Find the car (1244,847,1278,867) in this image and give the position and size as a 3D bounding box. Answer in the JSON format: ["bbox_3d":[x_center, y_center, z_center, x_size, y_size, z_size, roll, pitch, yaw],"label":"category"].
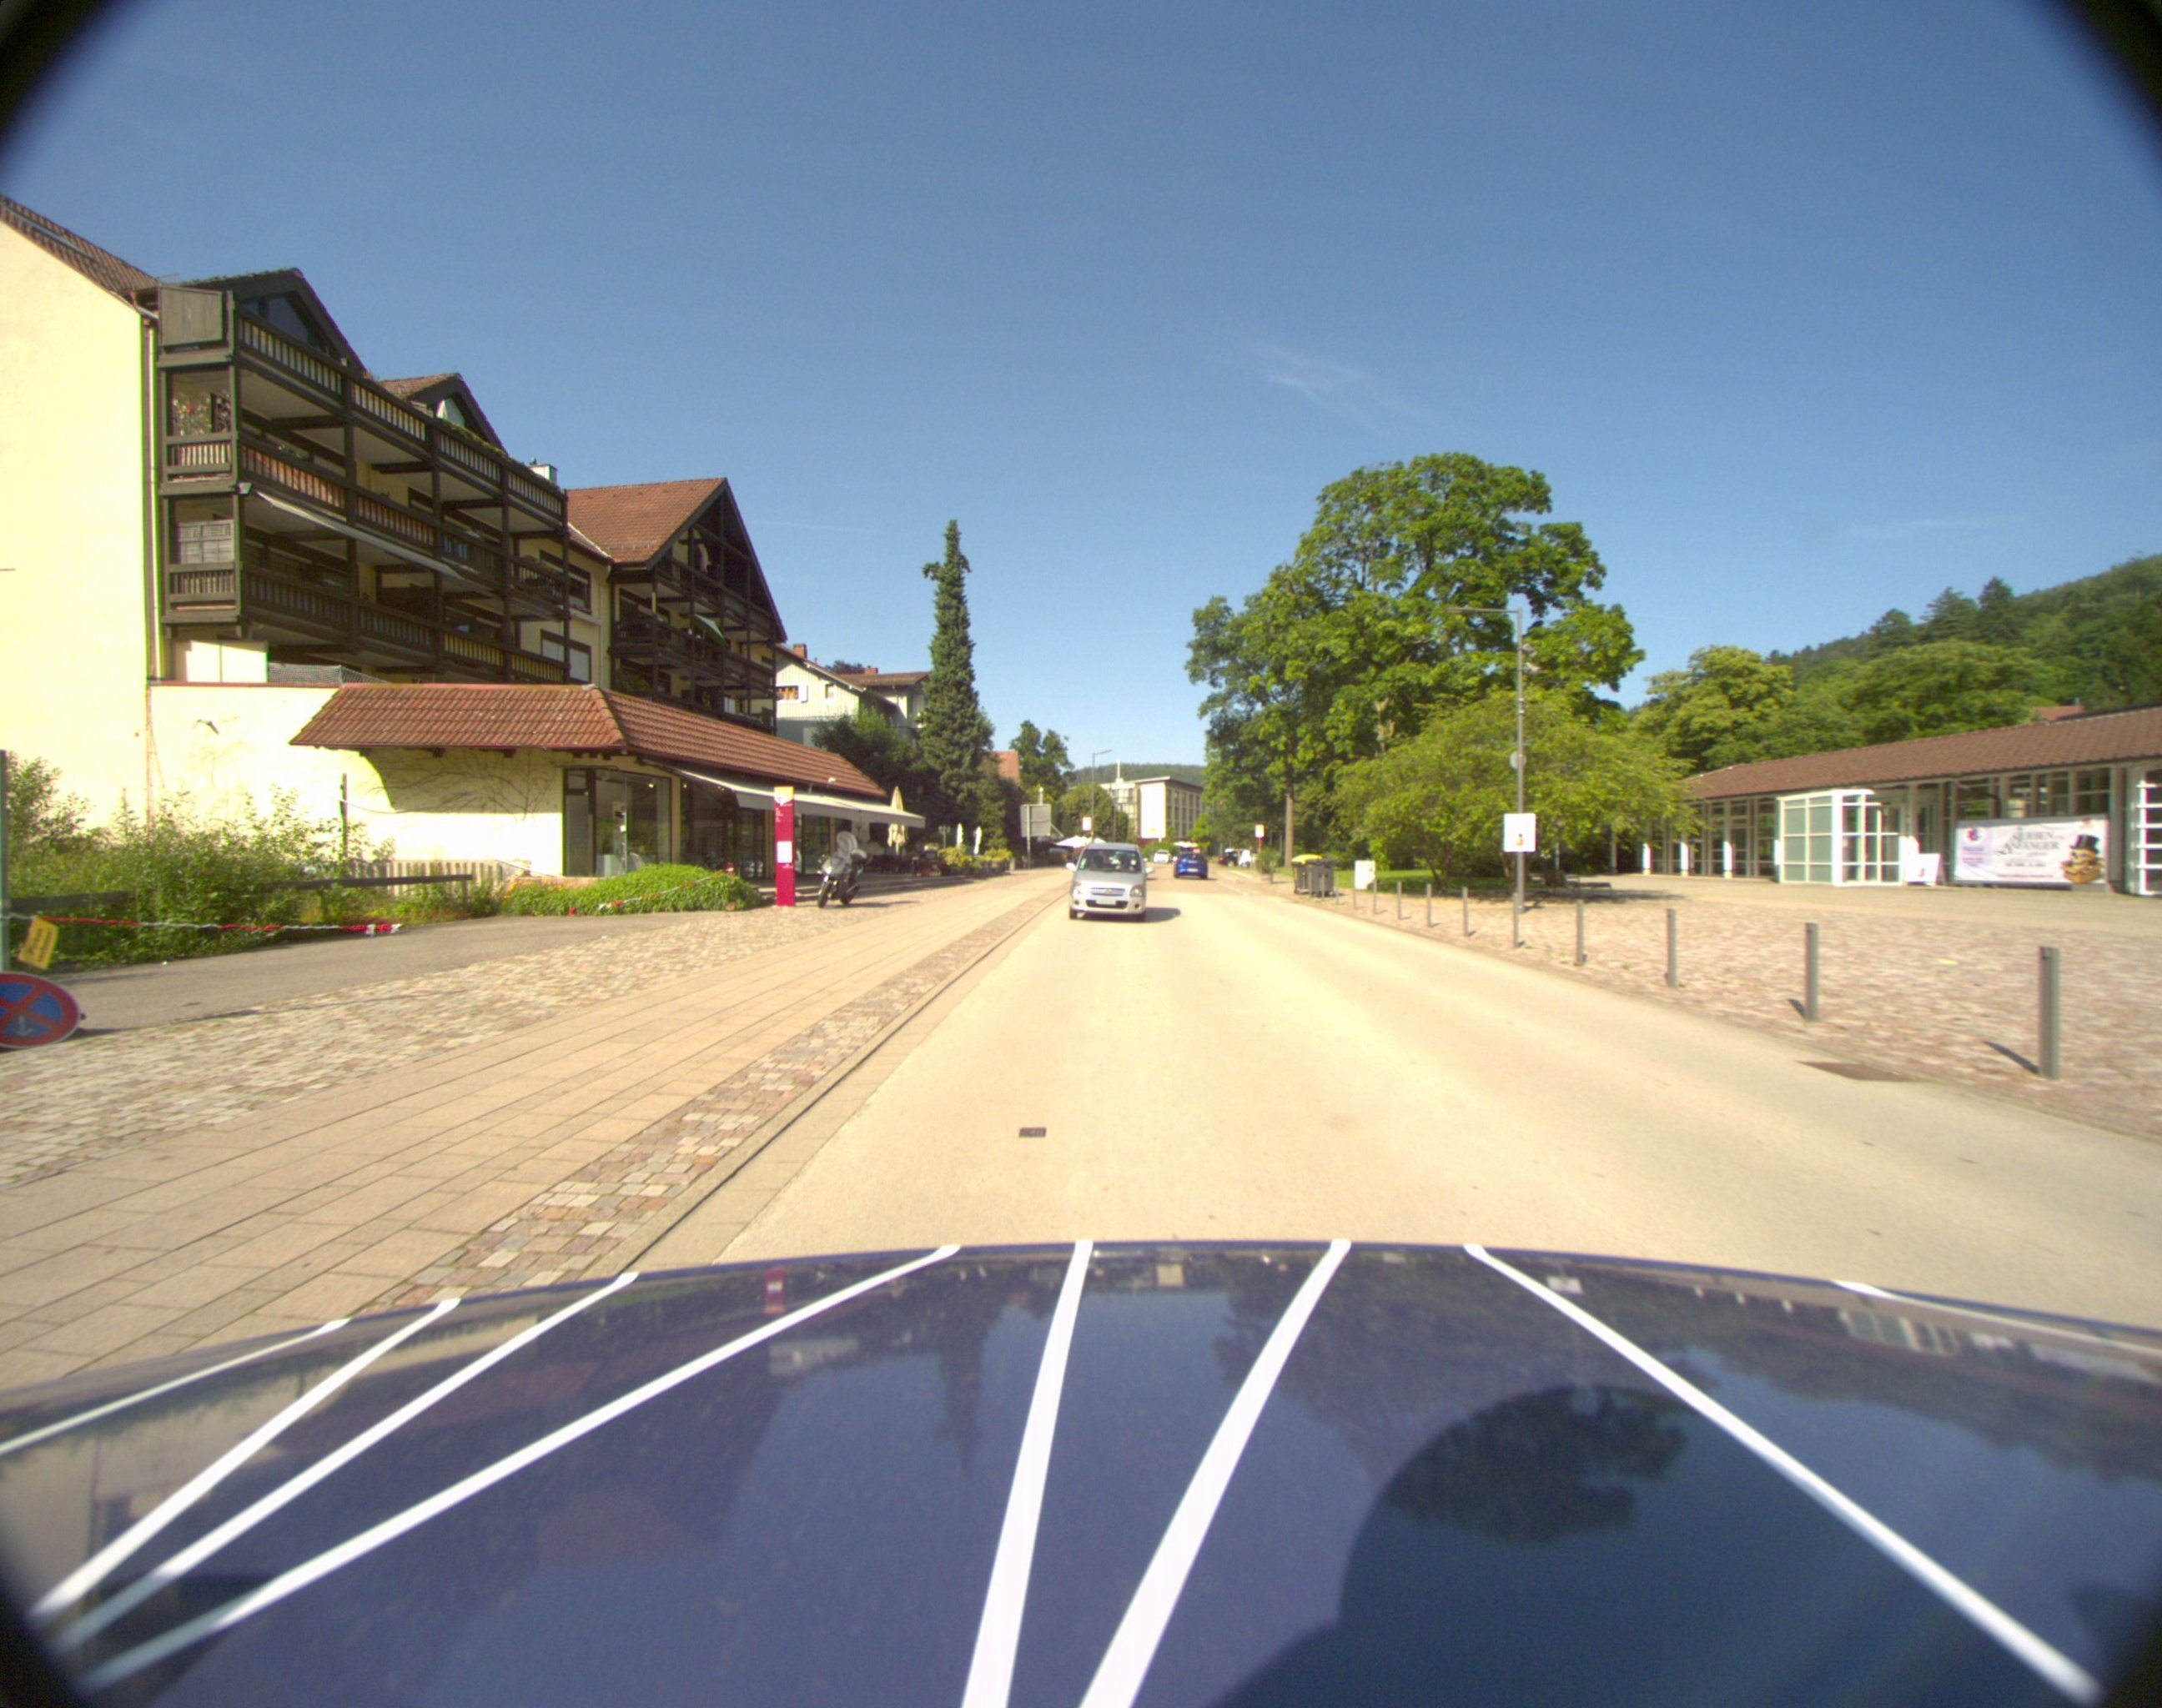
[{"bbox_3d":[15.025,0.232,63.435,2.655,1.538,1.684,-2,1,13],"label":"car"}]

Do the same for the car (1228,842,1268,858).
[{"bbox_3d":[19.709,-0.469,89.979,4.490,1.654,1.811,-2,1,10],"label":"car"}]

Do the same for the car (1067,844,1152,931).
[{"bbox_3d":[0.636,0.628,16.831,1.604,1.628,4.000,2,1,2],"label":"car"}]

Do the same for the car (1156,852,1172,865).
[{"bbox_3d":[9.897,0.502,90.234,1.653,1.462,4.002,-2,0,8],"label":"car"}]

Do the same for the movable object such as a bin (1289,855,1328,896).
[{"bbox_3d":[8.431,0.775,28.176,1.081,1.419,1.377,-2,1,4],"label":"movable object such as a bin"}]

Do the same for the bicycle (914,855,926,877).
[{"bbox_3d":[-6.760,0.487,31.905,0.397,0.837,1.613,-1,2,-14],"label":"bicycle"}]

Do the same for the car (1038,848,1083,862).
[{"bbox_3d":[-2.096,0.101,76.537,4.270,1.371,1.710,1,1,9],"label":"car"}]

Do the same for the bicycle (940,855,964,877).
[{"bbox_3d":[-5.430,0.490,32.003,0.397,0.859,1.617,0,1,13],"label":"bicycle"}]

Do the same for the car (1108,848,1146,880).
[{"bbox_3d":[2.368,0.470,38.506,1.739,1.488,3.931,-1,0,6],"label":"car"}]

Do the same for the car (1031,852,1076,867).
[{"bbox_3d":[-2.632,0.547,73.706,4.116,1.407,1.749,1,1,9],"label":"car"}]

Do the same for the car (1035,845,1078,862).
[{"bbox_3d":[-2.261,-0.032,70.954,3.884,1.571,1.749,1,1,4],"label":"car"}]

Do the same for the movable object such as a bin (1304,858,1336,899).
[{"bbox_3d":[8.229,0.834,26.220,0.756,1.334,1.295,-2,1,4],"label":"movable object such as a bin"}]

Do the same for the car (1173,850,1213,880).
[{"bbox_3d":[6.120,0.565,42.038,1.745,1.454,4.187,2,1,3],"label":"car"}]

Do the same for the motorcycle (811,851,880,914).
[{"bbox_3d":[-5.200,0.588,16.920,0.698,1.289,2.212,3,1,3],"label":"motorcycle"}]

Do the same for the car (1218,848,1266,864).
[{"bbox_3d":[15.493,0.162,73.135,4.286,1.423,1.713,-2,1,1],"label":"car"}]
